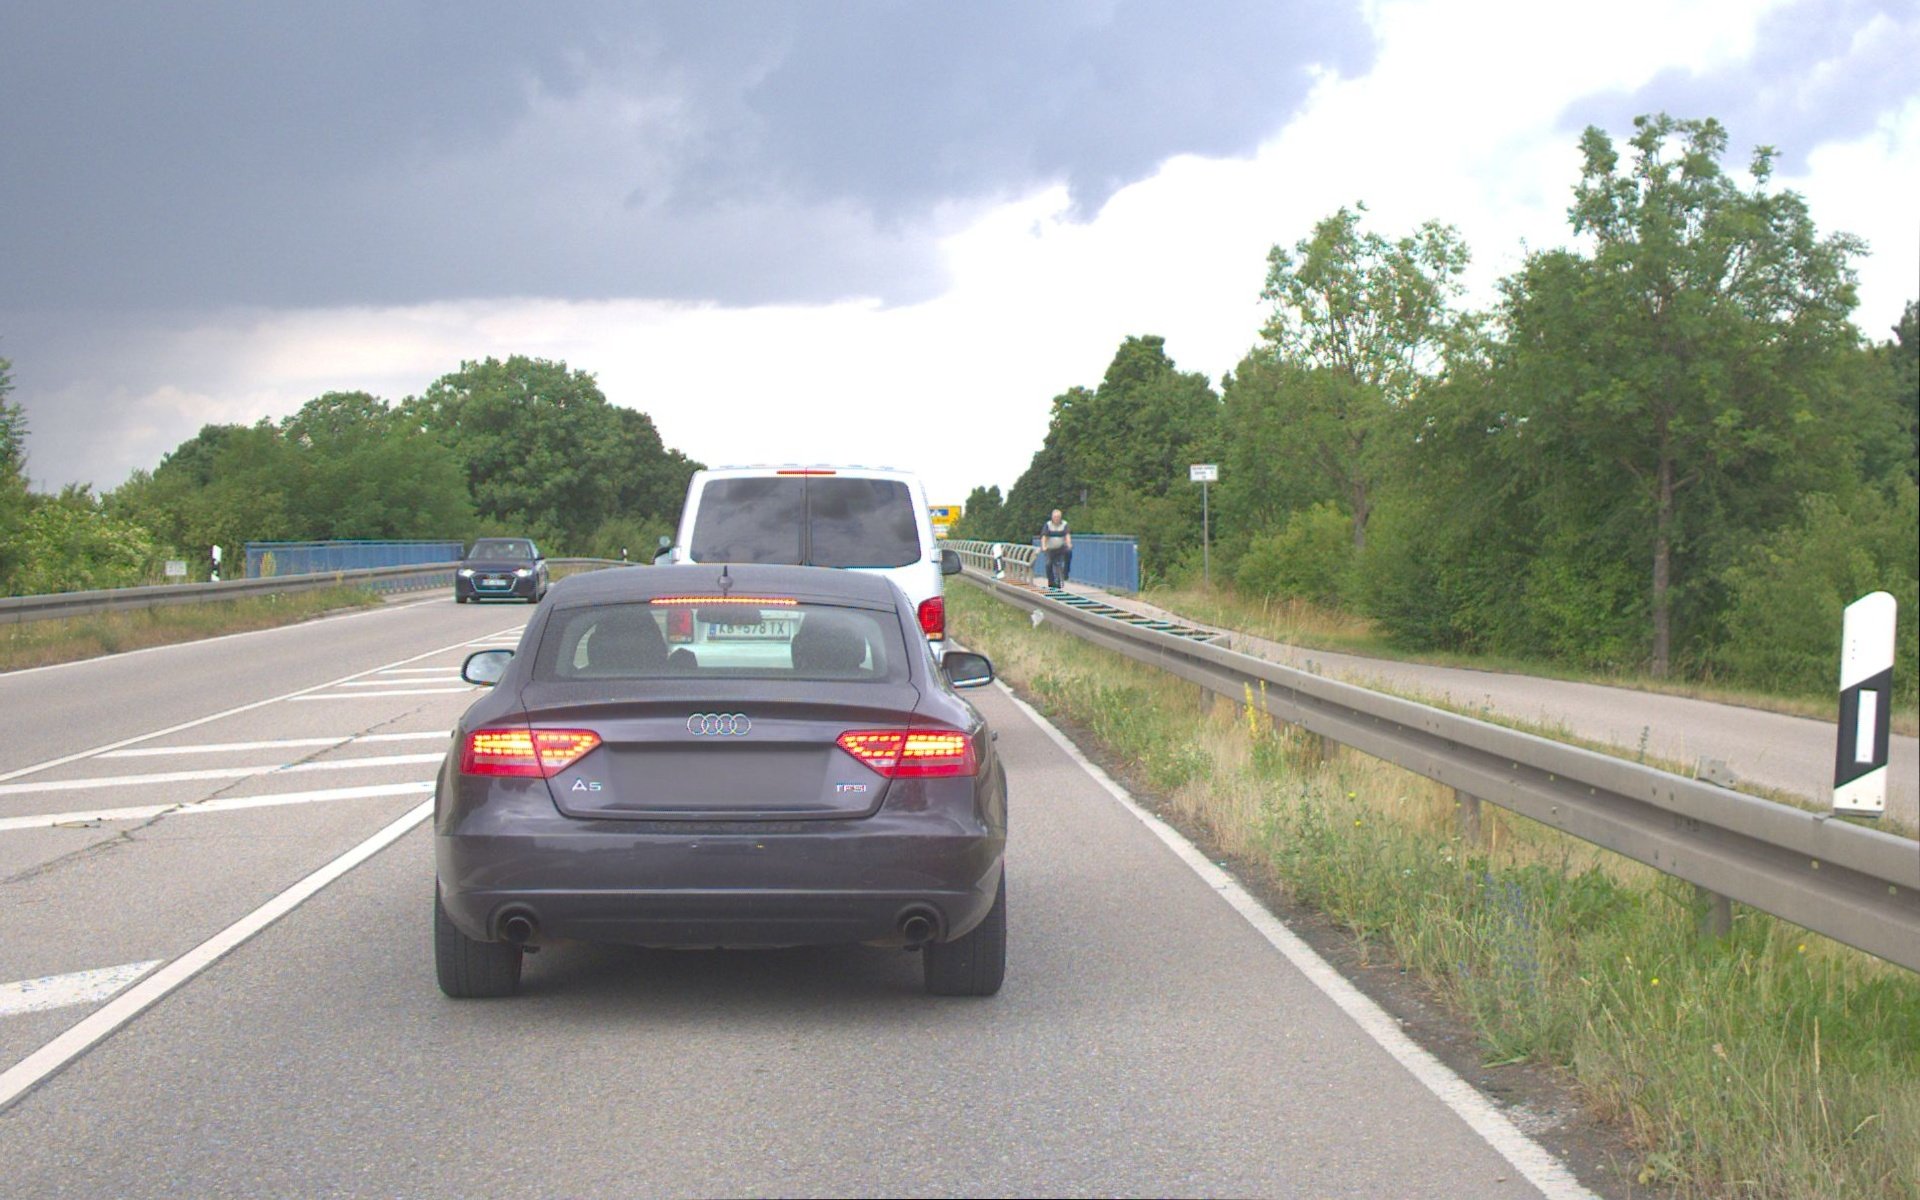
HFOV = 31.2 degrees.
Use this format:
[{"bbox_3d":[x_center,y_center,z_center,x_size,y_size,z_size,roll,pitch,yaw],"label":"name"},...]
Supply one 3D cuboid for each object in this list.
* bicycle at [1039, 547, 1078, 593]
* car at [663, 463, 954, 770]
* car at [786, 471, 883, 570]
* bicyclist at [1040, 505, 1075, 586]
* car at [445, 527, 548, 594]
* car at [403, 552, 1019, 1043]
[{"bbox_3d":[2.002,-0.617,70.262,0.666,0.917,1.830,-1,1,-2],"label":"bicycle"},{"bbox_3d":[-1.009,0.083,23.365,1.785,1.883,4.000,1,1,-2],"label":"car"},{"bbox_3d":[-3.260,-2.072,89.994,2.447,2.495,5.042,1,1,-1],"label":"car"},{"bbox_3d":[1.991,-1.121,70.299,0.647,1.639,0.866,-1,1,-2],"label":"bicyclist"},{"bbox_3d":[-10.045,-0.879,74.707,1.862,1.371,4.001,0,1,-3],"label":"car"},{"bbox_3d":[-0.797,0.559,12.055,1.785,1.419,4.000,1,1,-2],"label":"car"}]
